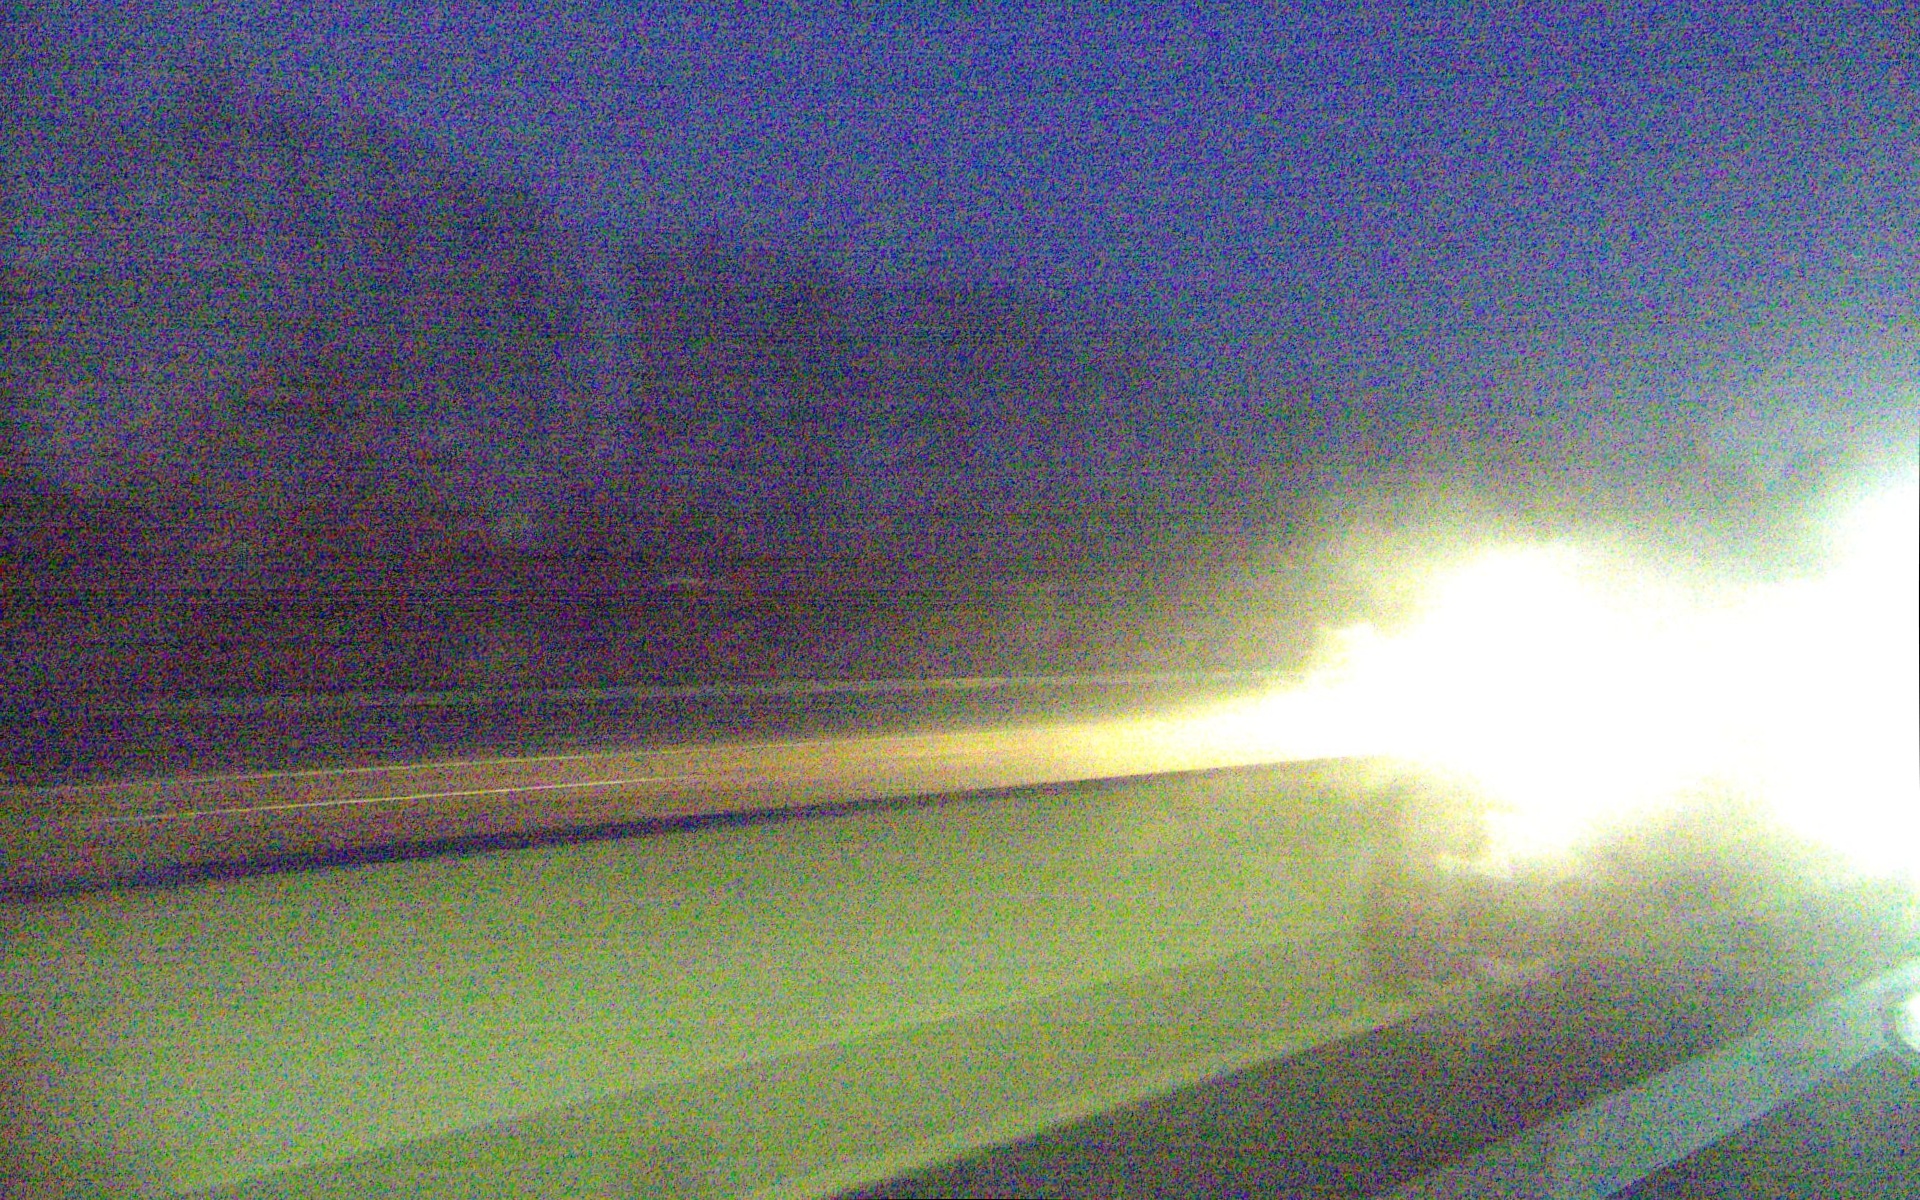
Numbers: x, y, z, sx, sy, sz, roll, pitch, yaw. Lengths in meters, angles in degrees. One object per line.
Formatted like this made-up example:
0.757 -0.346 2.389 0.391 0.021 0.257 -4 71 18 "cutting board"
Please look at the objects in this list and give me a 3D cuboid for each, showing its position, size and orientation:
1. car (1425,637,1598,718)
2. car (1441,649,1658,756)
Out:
15.046 2.024 27.330 5.039 1.840 1.982 0 1 -33 "car"
12.393 2.043 21.046 4.602 1.784 1.983 0 1 -32 "car"
